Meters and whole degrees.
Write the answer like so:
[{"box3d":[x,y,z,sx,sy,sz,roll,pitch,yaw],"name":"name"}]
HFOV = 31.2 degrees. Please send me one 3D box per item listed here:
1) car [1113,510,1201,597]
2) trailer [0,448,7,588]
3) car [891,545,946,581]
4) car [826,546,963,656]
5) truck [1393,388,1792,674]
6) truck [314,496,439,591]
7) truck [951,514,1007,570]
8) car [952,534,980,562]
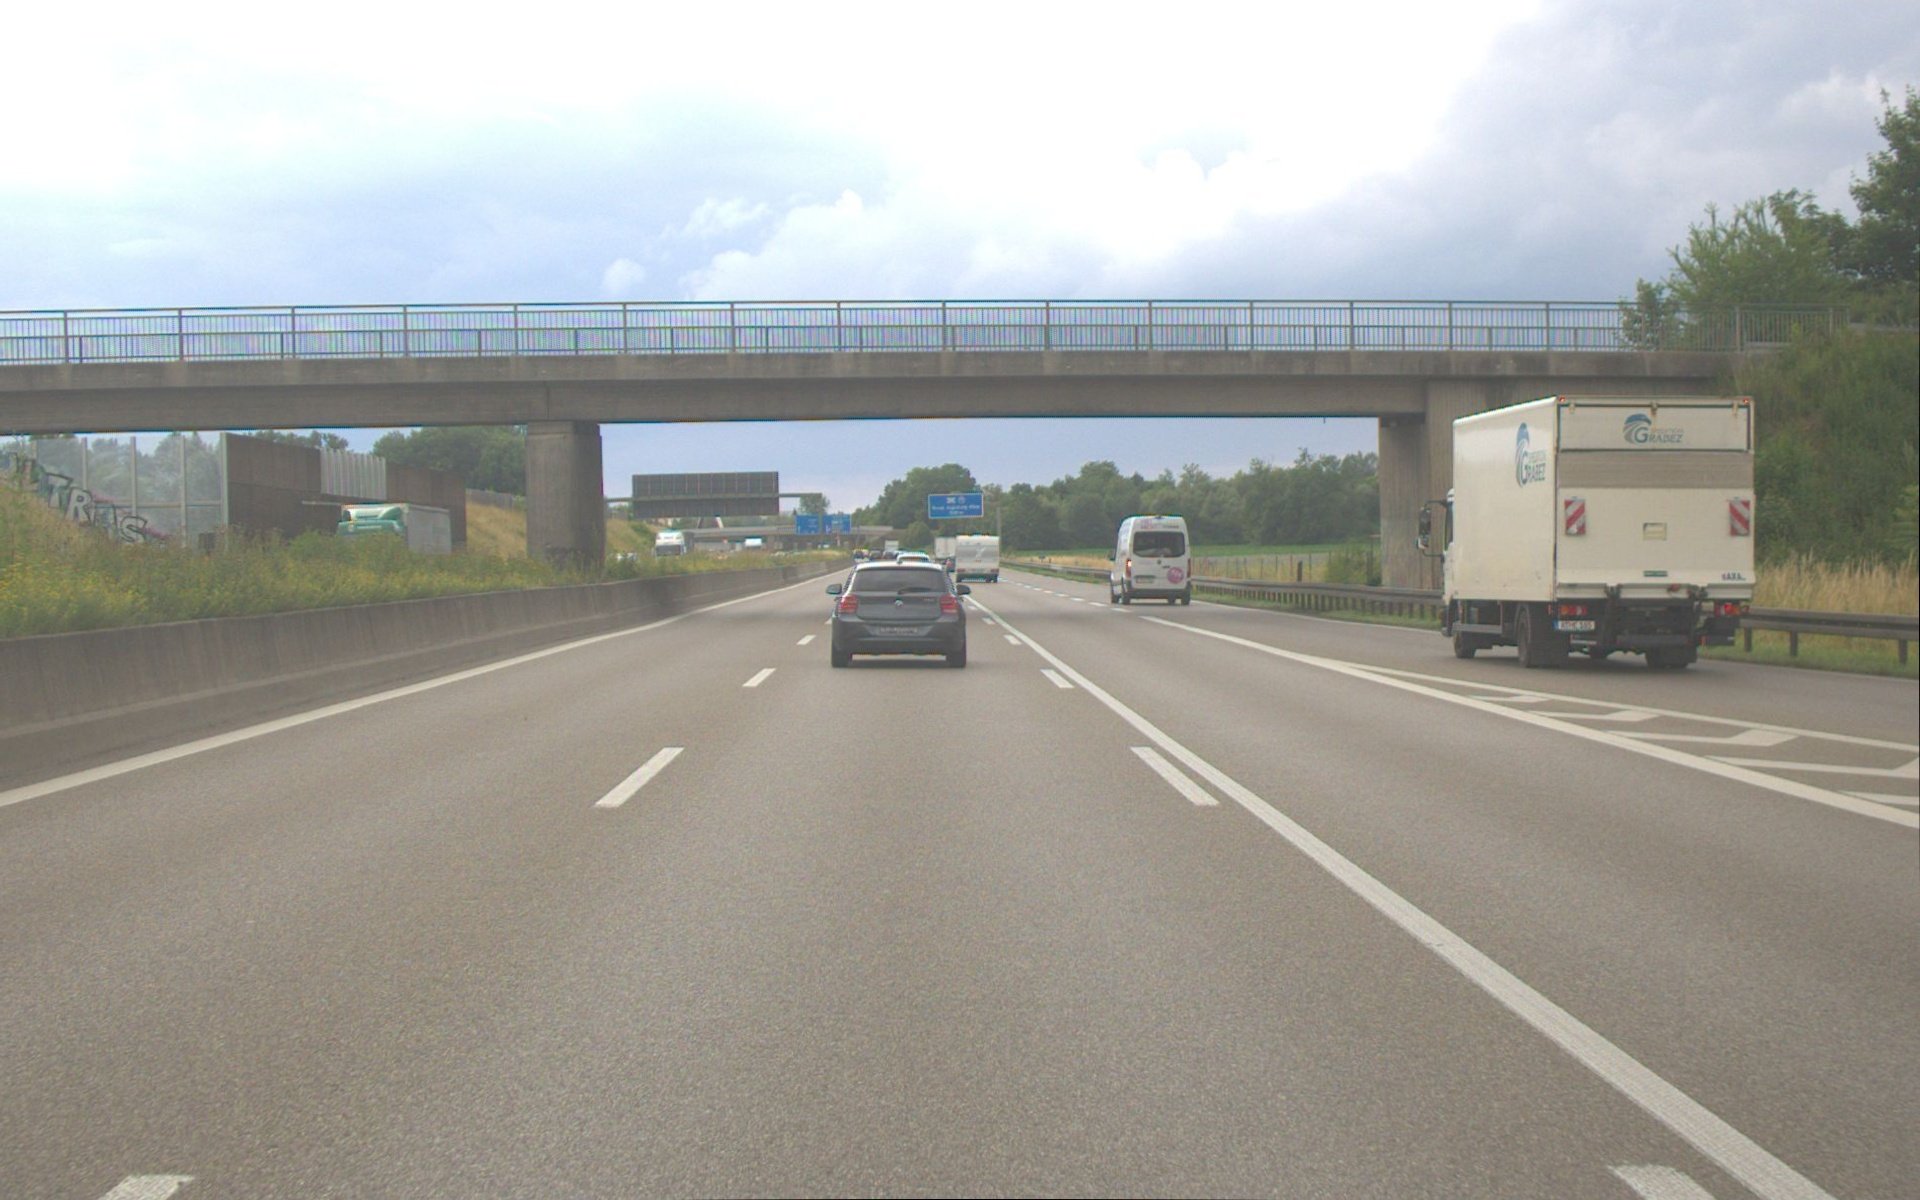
[{"box3d":[5.934,-1.412,104.061,2.221,2.559,6.256,0,1,-1],"name":"car"},{"box3d":[-21.592,-1.677,65.780,2.921,2.945,13.971,1,1,-1],"name":"trailer"},{"box3d":[-1.598,-1.413,131.117,1.993,1.294,4.000,-1,1,-1],"name":"car"},{"box3d":[-0.871,-0.017,45.995,1.743,1.384,4.000,1,1,-1],"name":"car"},{"box3d":[8.362,-0.907,46.845,3.104,3.459,8.892,1,1,-4],"name":"truck"},{"box3d":[-23.501,-2.240,139.140,2.997,3.671,13.009,0,1,-1],"name":"truck"},{"box3d":[0.982,-3.159,188.576,2.710,2.954,12.448,1,1,-1],"name":"truck"},{"box3d":[0.445,-3.856,255.167,1.993,2.007,4.000,-1,1,-1],"name":"car"}]
